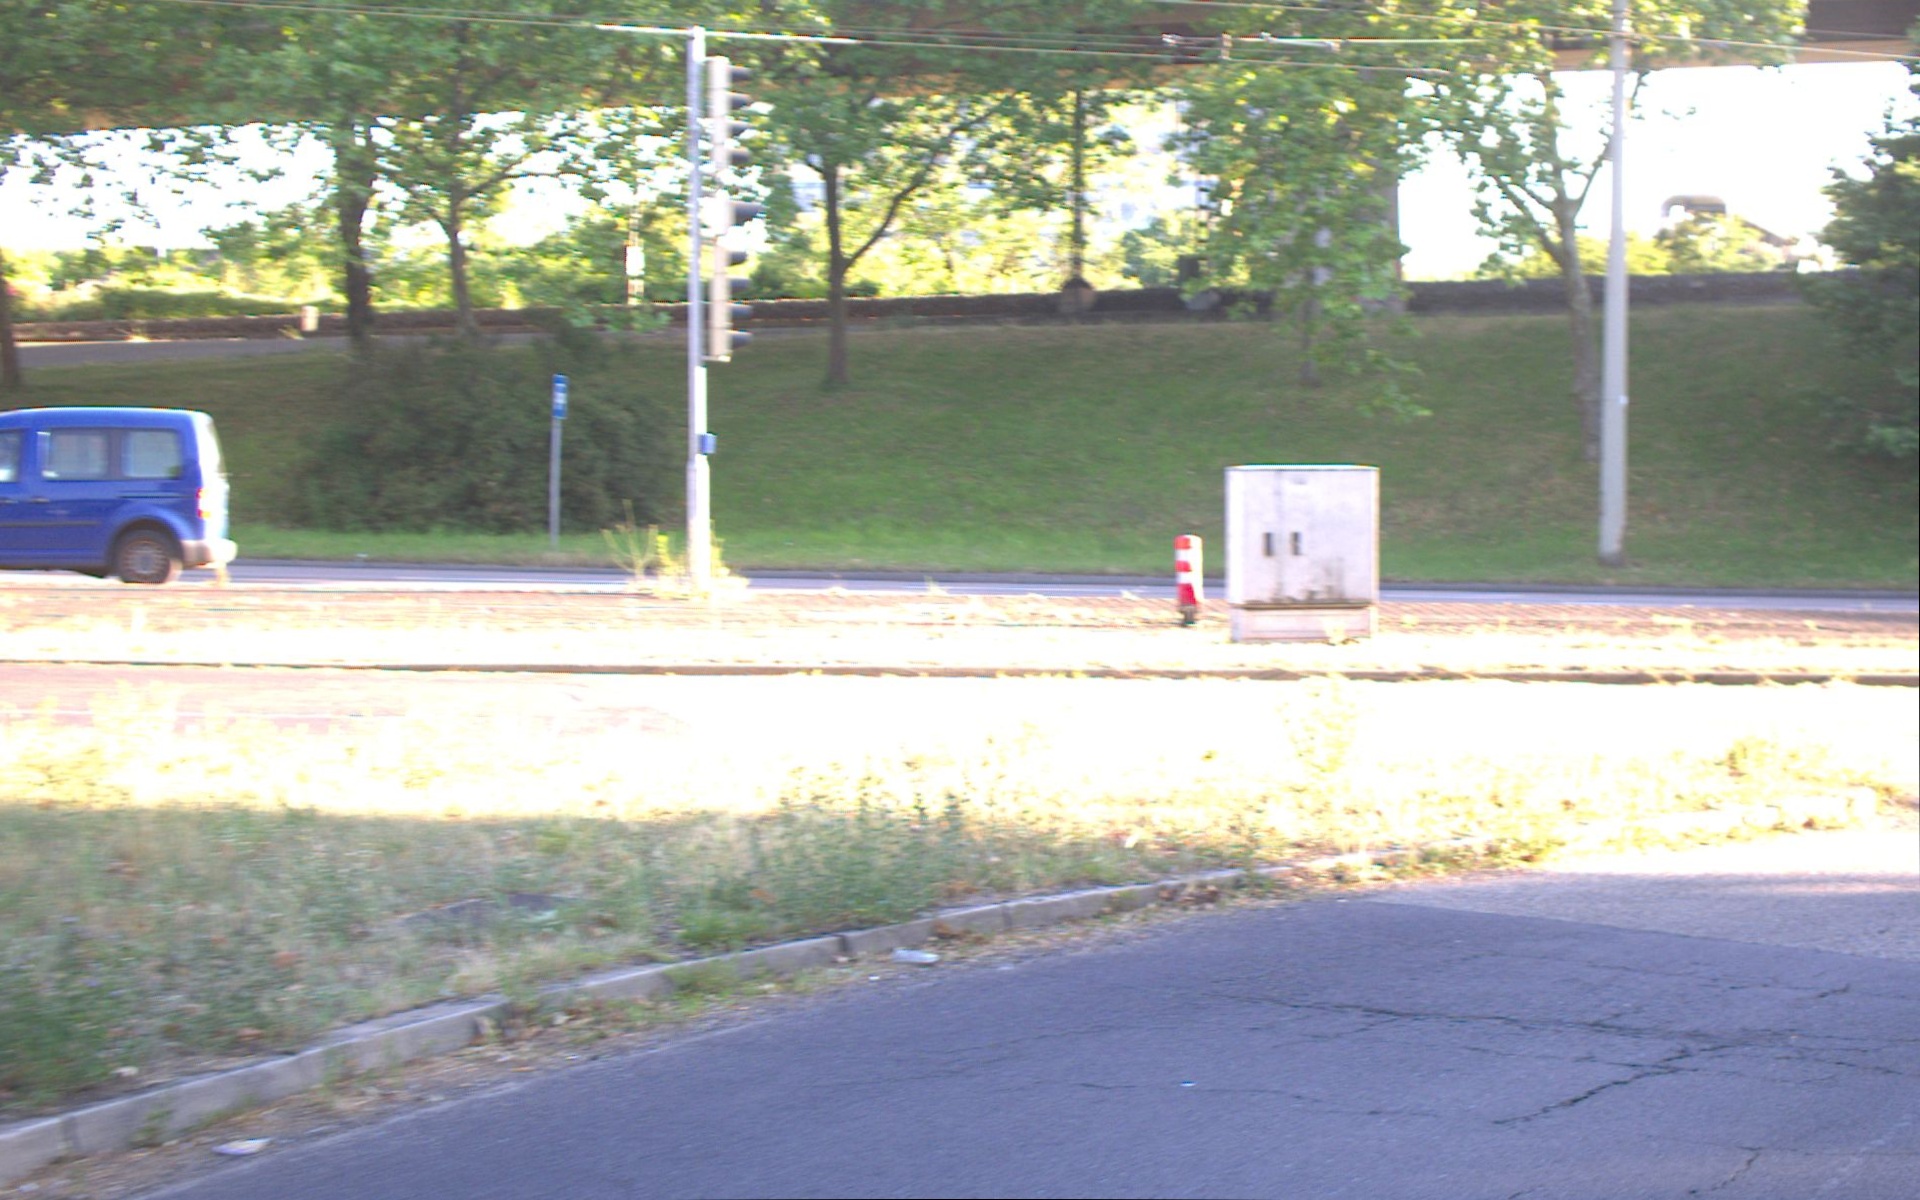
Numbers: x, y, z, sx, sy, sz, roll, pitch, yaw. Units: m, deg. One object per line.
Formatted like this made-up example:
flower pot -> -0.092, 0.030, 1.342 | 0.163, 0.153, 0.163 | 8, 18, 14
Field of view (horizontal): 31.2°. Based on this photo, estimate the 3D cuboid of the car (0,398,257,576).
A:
car -> -9.397, -1.162, 34.528 | 4.502, 1.687, 2.001 | 1, 2, -13
